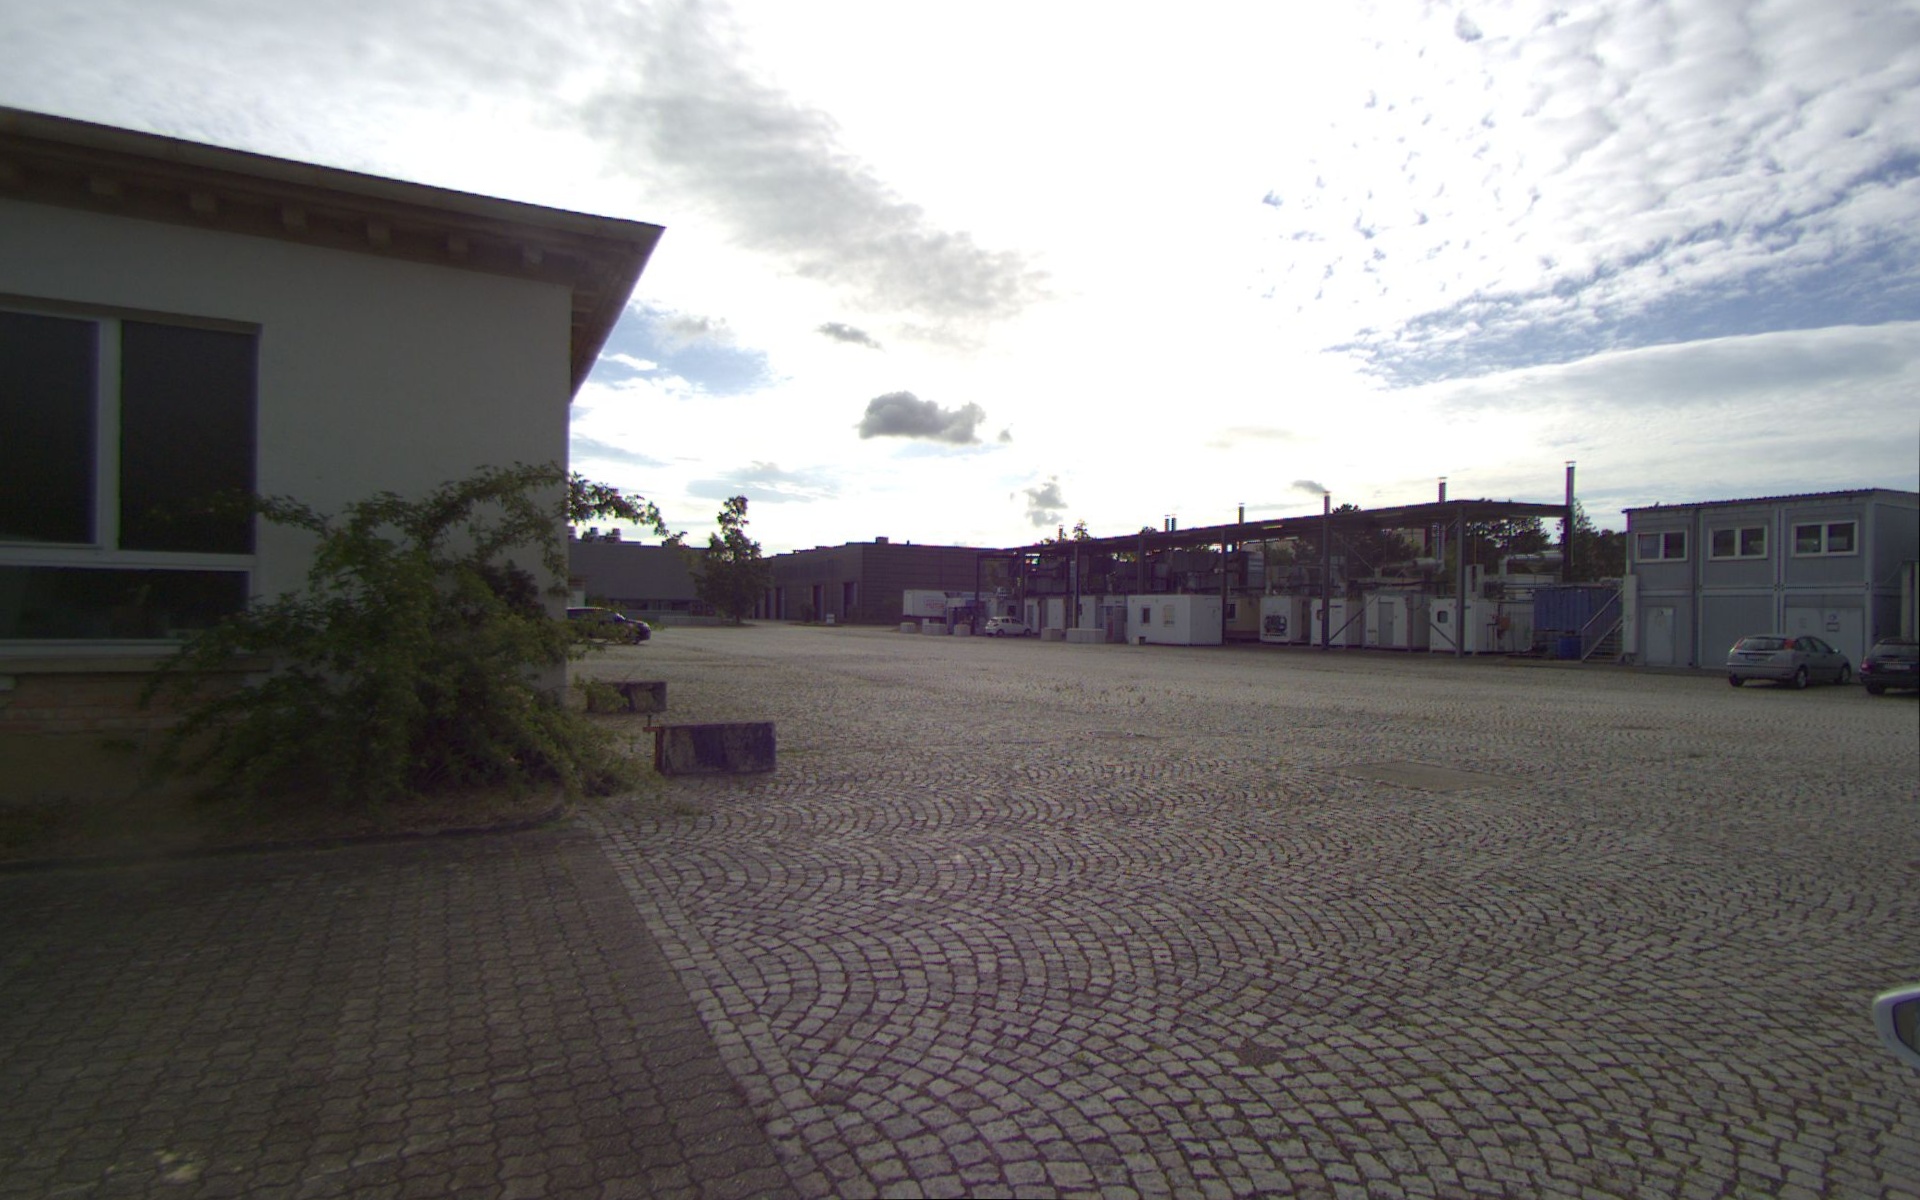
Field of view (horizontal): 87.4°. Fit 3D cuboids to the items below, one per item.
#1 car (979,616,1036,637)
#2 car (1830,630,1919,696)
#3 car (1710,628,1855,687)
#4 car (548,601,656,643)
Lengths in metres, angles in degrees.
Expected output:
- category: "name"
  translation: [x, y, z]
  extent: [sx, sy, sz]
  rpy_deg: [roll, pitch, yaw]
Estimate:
- category: "car"
  translation: [3.619, 2.006, 76.898]
  extent: [3.951, 1.512, 1.985]
  rpy_deg: [2, -1, -29]
- category: "car"
  translation: [24.740, 1.570, 25.874]
  extent: [4.471, 1.472, 2.029]
  rpy_deg: [-1, 0, -28]
- category: "car"
  translation: [23.577, 1.600, 28.778]
  extent: [3.998, 1.495, 1.898]
  rpy_deg: [0, 0, -29]
- category: "car"
  translation: [-16.235, 1.021, 45.608]
  extent: [4.381, 1.779, 1.986]
  rpy_deg: [1, -4, -28]
